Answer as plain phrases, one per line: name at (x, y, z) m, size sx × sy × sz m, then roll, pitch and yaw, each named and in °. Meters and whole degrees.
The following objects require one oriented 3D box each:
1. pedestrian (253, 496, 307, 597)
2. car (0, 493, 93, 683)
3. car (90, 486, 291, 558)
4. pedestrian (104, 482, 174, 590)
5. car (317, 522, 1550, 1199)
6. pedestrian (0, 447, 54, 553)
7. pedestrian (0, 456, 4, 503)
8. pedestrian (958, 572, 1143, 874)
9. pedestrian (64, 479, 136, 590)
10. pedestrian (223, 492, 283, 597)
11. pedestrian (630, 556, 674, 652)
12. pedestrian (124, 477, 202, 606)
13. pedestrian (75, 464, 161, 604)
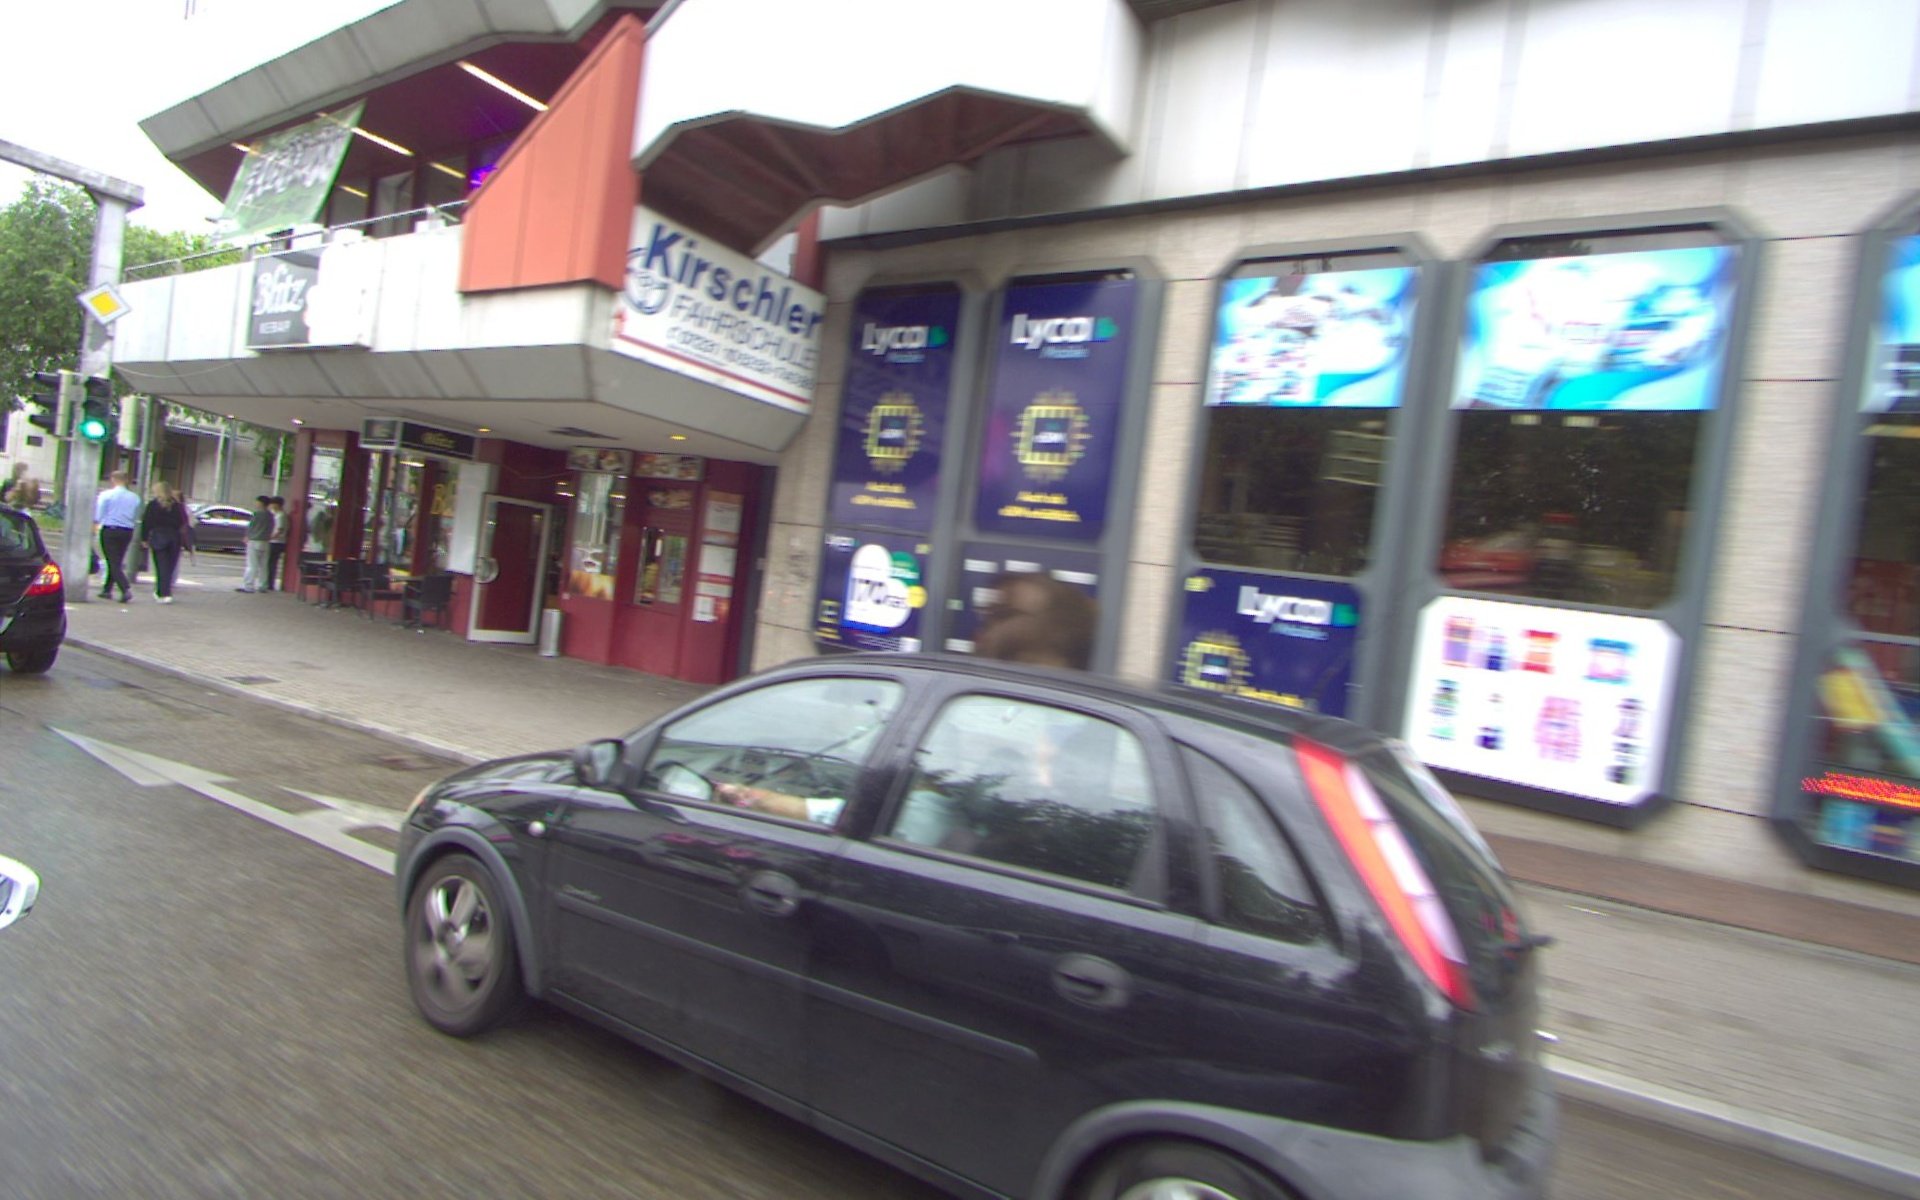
pedestrian at (-12.548, -0.982, 18.569) m, size 0.503 × 1.785 × 0.526 m, roll 6°, pitch 0°, yaw 31°
car at (-9.360, -0.324, 8.592) m, size 3.678 × 1.474 × 1.711 m, roll 8°, pitch 0°, yaw 29°
car at (-22.026, -2.185, 29.017) m, size 1.754 × 1.437 × 4.273 m, roll 8°, pitch 0°, yaw 17°
pedestrian at (-14.182, -1.098, 17.377) m, size 0.955 × 1.729 × 0.588 m, roll 8°, pitch 3°, yaw 33°
car at (-0.248, 0.737, 3.266) m, size 3.566 × 1.458 × 1.594 m, roll 9°, pitch 1°, yaw 31°
pedestrian at (-18.140, -1.914, 19.372) m, size 0.665 × 1.919 × 0.733 m, roll 6°, pitch 1°, yaw 29°
pedestrian at (-18.503, -1.782, 18.704) m, size 0.776 × 1.925 × 0.759 m, roll 6°, pitch 1°, yaw 30°
pedestrian at (0.607, 0.741, 6.673) m, size 0.792 × 1.805 × 0.894 m, roll 6°, pitch 5°, yaw 34°
pedestrian at (-14.042, -1.072, 16.424) m, size 0.925 × 1.685 × 0.574 m, roll 8°, pitch 3°, yaw 33°
pedestrian at (-12.604, -0.983, 17.940) m, size 0.484 × 1.785 × 0.596 m, roll 6°, pitch 0°, yaw 31°
pedestrian at (-5.033, 0.064, 16.459) m, size 0.500 × 1.506 × 0.458 m, roll 5°, pitch 2°, yaw -8°
pedestrian at (-11.691, -0.858, 14.759) m, size 0.667 × 1.795 × 0.622 m, roll 6°, pitch 0°, yaw 37°
pedestrian at (-11.872, -0.929, 14.188) m, size 0.835 × 1.869 × 0.622 m, roll 6°, pitch 0°, yaw 37°
